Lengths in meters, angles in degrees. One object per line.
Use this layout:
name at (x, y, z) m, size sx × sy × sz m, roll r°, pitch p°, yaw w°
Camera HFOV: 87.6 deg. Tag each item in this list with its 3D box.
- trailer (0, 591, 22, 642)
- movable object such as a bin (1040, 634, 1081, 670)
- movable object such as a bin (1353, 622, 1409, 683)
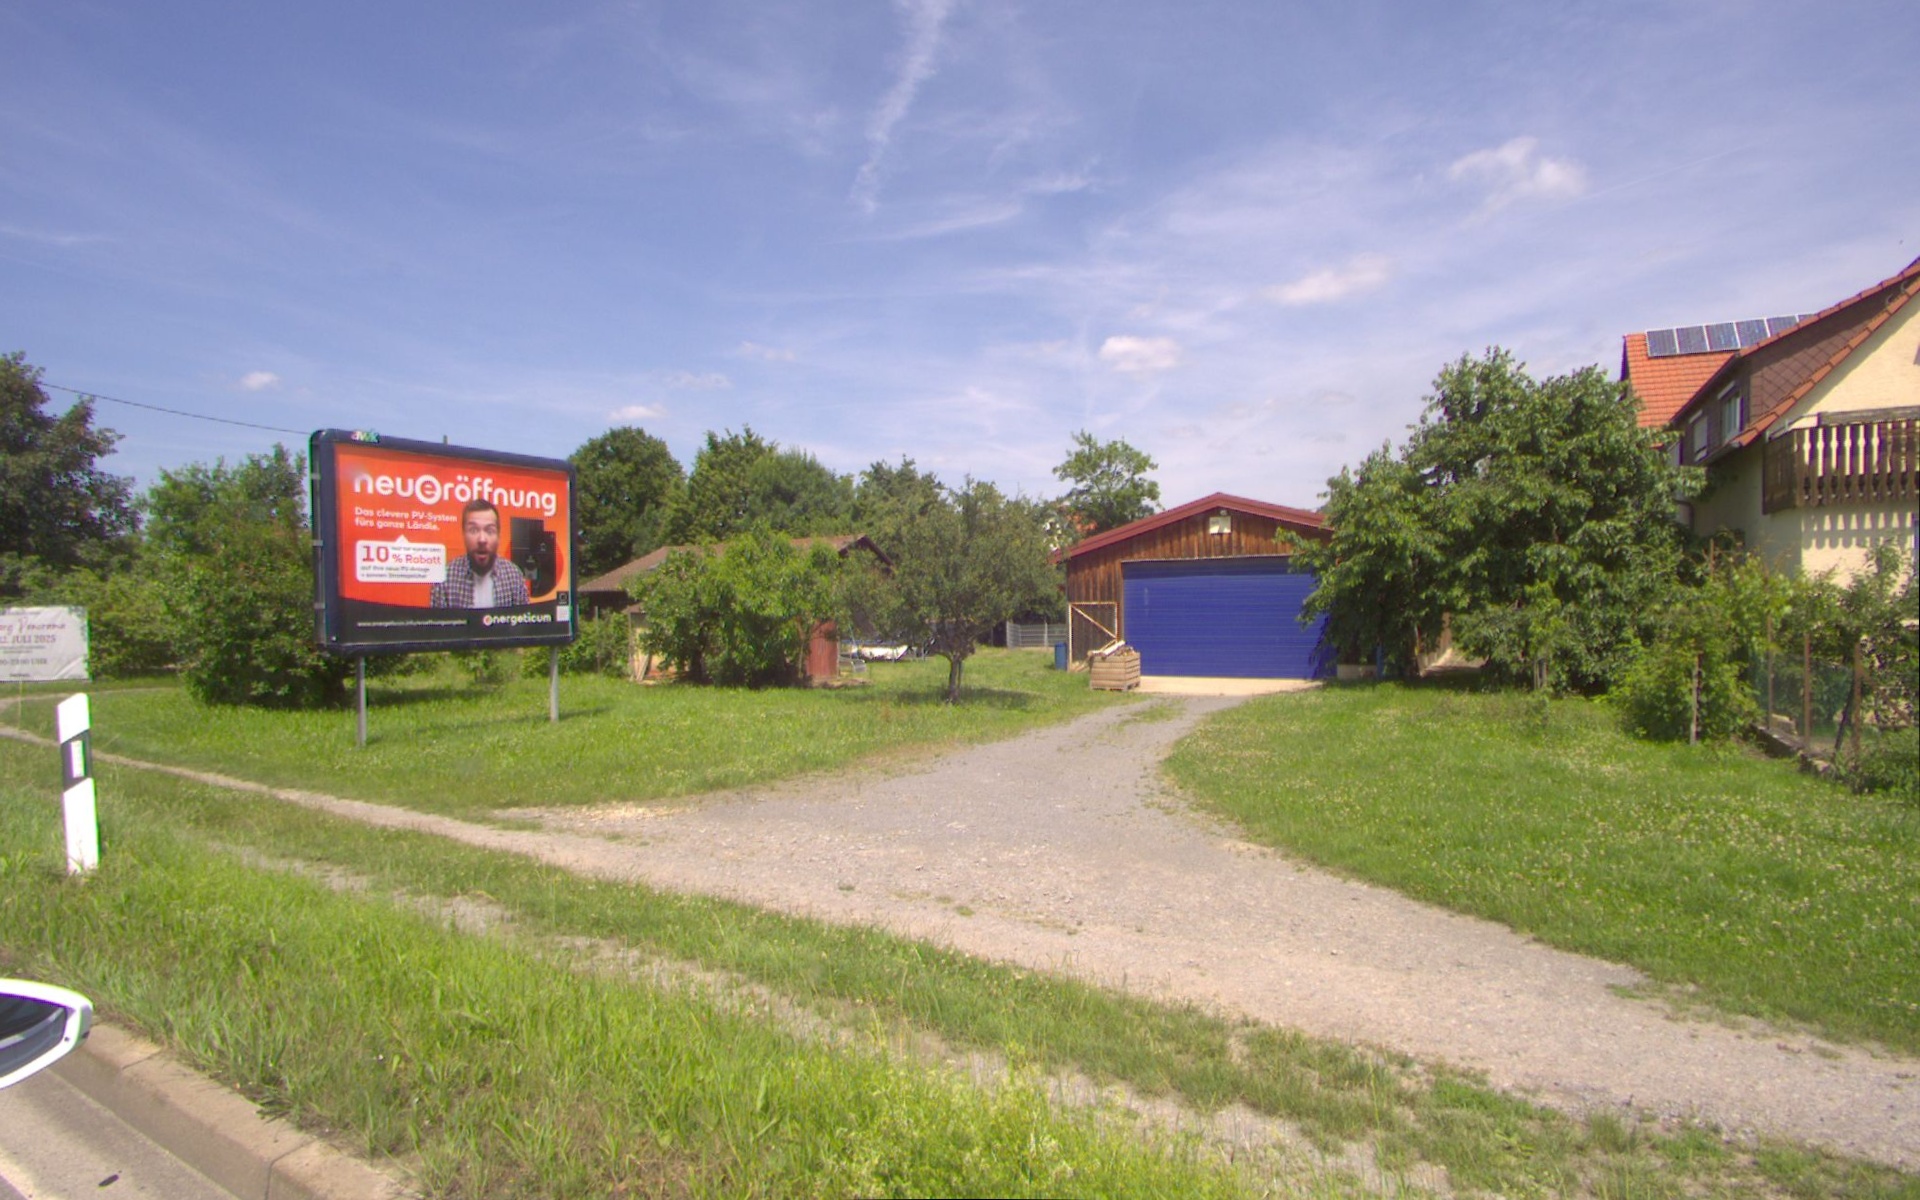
trailer at (-92.321, 1.540, 93.258) m, size 5.132 × 4.688 × 15.783 m, roll 1°, pitch -1°, yaw -36°
movable object such as a bin at (3.043, 1.574, 30.296) m, size 1.044 × 1.046 × 1.040 m, roll 0°, pitch -1°, yaw 17°
movable object such as a bin at (10.225, 1.257, 24.312) m, size 1.049 × 1.415 × 1.271 m, roll 0°, pitch -1°, yaw 33°
